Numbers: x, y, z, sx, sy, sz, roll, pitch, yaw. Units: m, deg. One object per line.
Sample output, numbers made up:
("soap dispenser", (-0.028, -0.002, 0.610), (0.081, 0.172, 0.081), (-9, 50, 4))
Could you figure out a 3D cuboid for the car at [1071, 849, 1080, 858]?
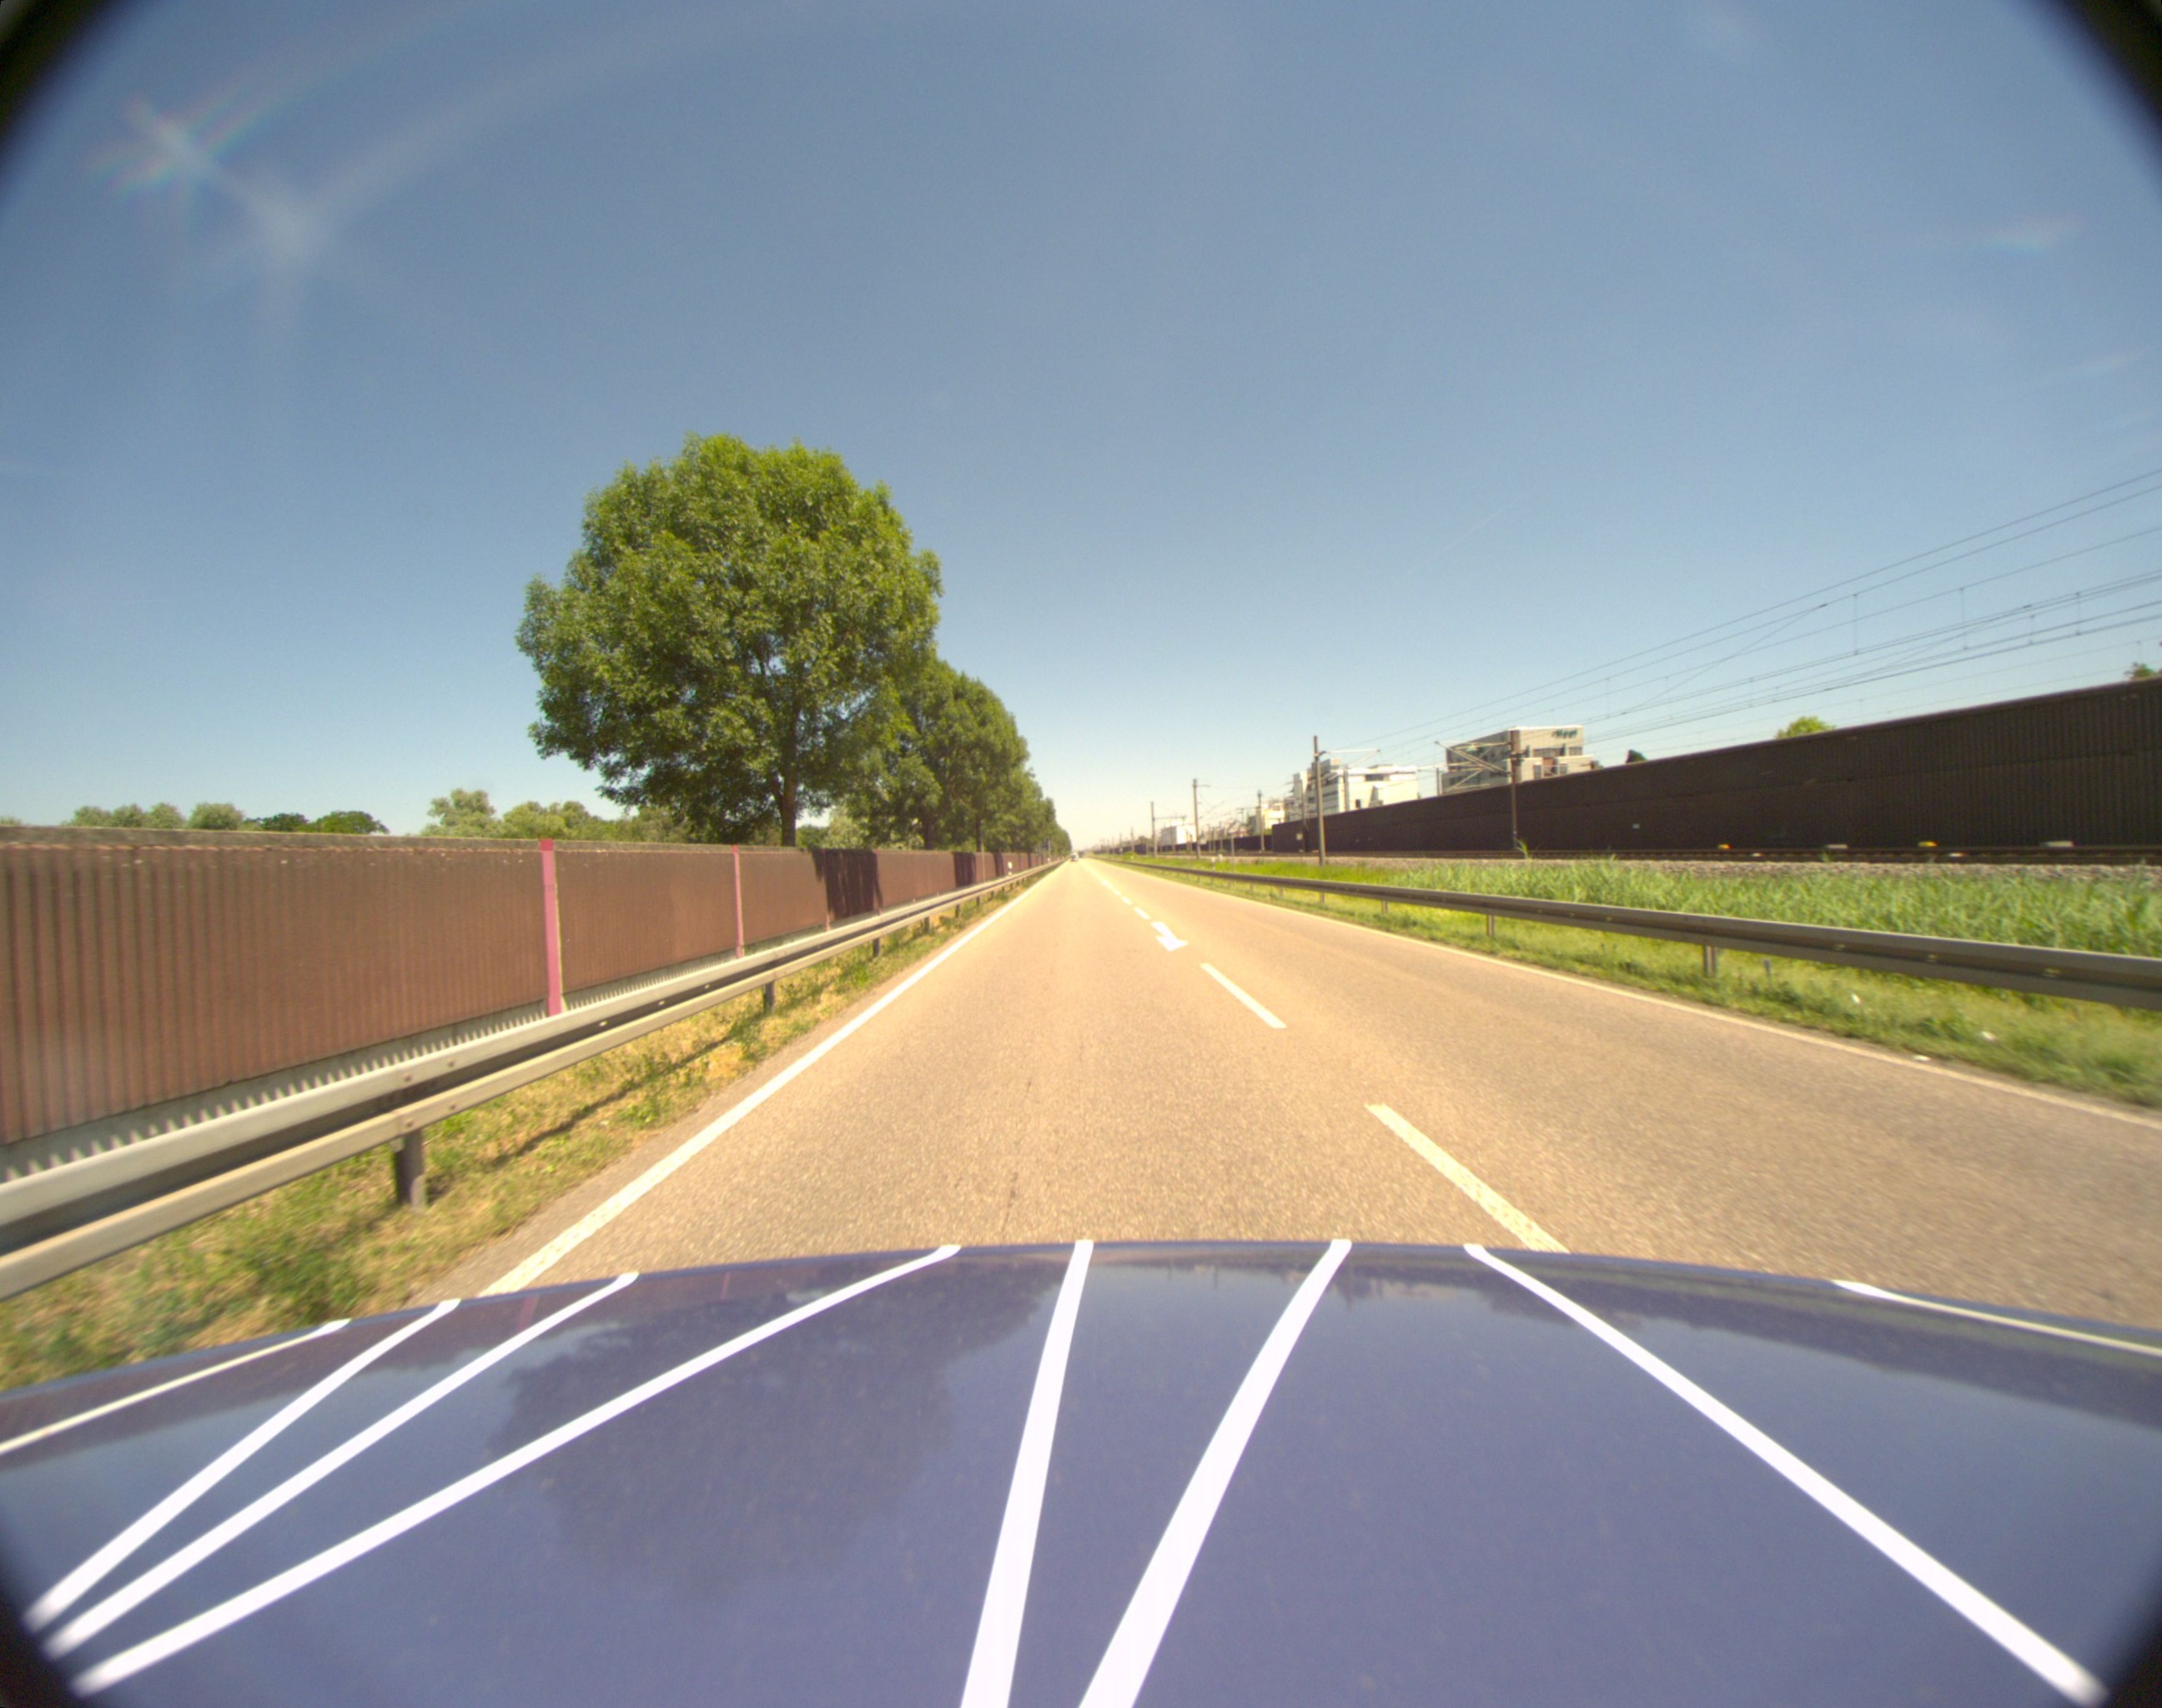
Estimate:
("car", (-1.440, -0.102, 191.374), (1.998, 2.002, 4.000), (-2, 0, 3))
